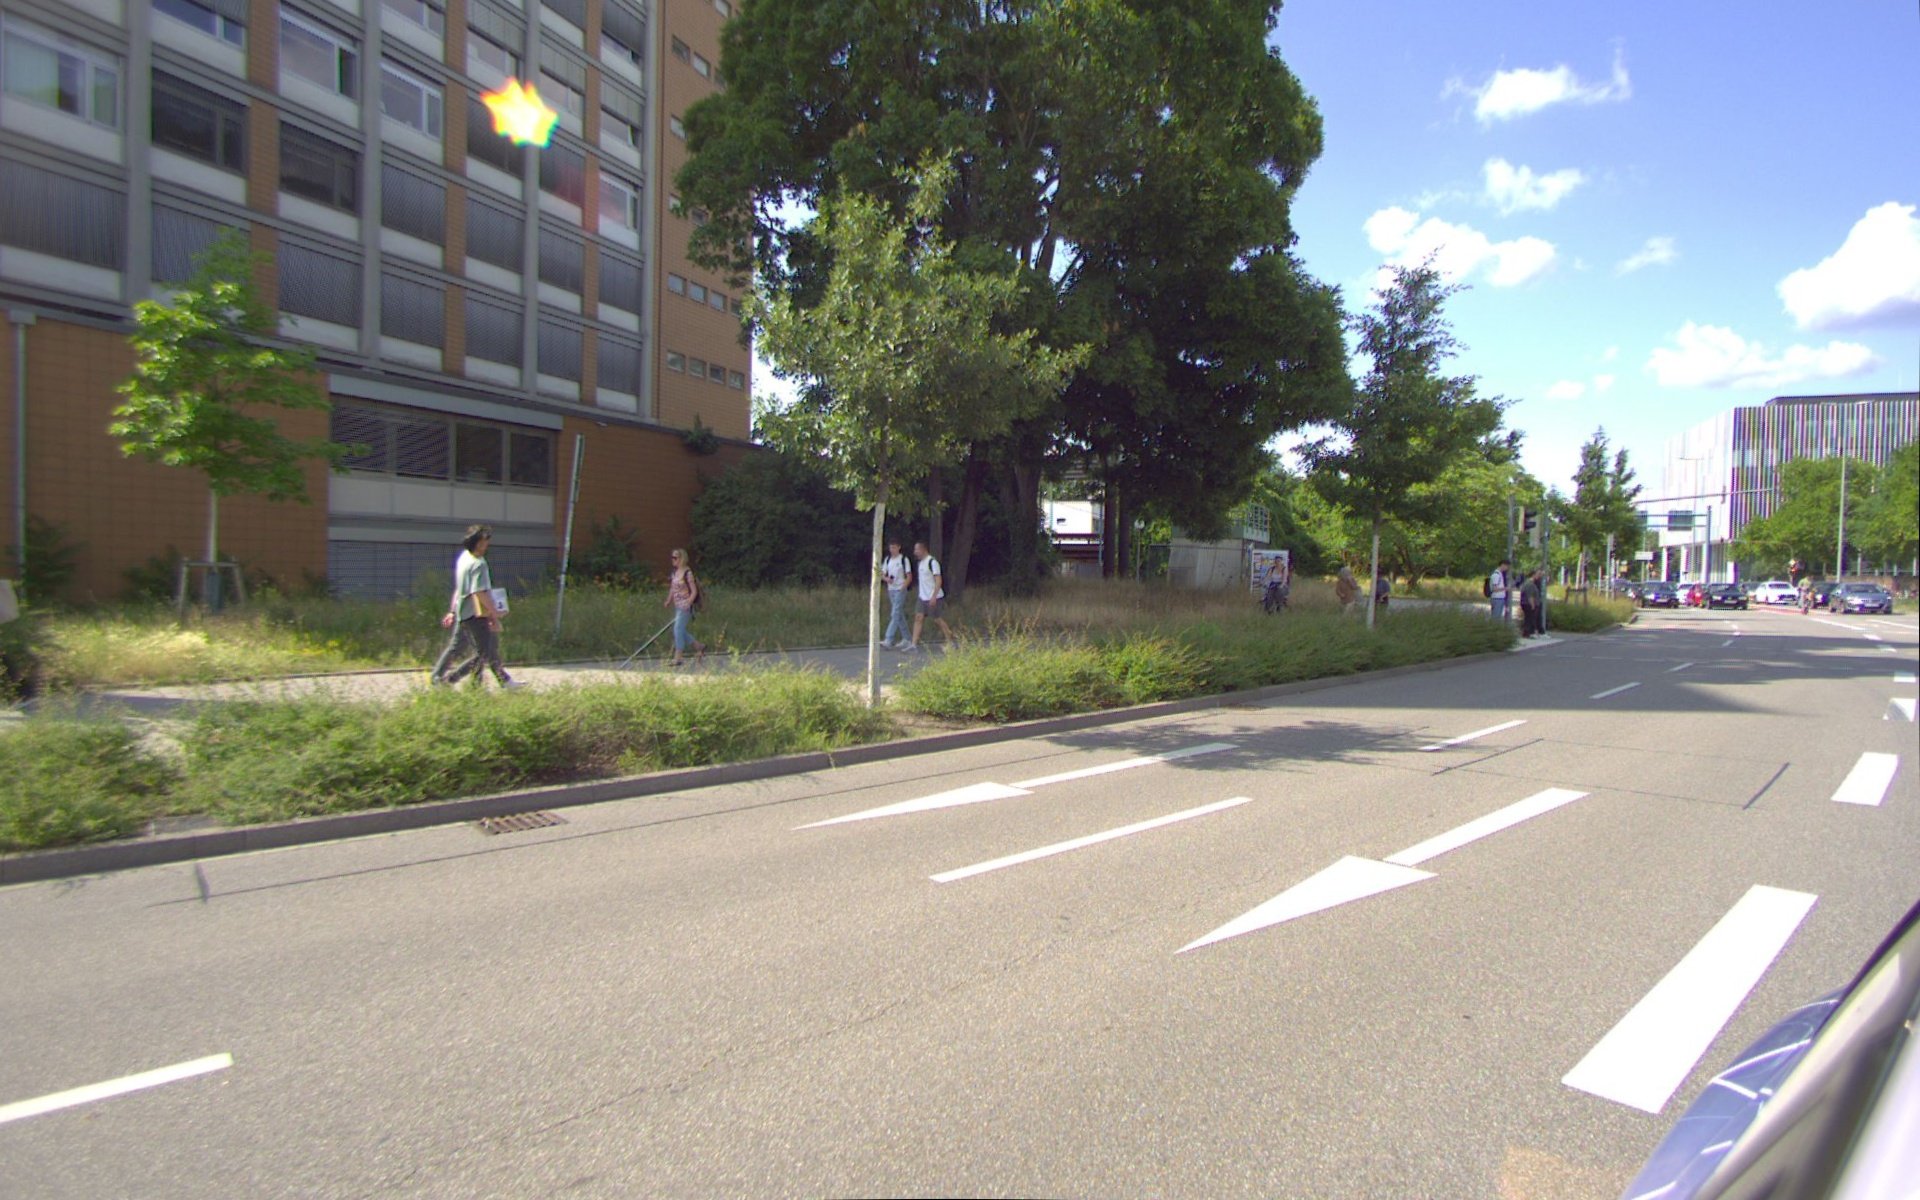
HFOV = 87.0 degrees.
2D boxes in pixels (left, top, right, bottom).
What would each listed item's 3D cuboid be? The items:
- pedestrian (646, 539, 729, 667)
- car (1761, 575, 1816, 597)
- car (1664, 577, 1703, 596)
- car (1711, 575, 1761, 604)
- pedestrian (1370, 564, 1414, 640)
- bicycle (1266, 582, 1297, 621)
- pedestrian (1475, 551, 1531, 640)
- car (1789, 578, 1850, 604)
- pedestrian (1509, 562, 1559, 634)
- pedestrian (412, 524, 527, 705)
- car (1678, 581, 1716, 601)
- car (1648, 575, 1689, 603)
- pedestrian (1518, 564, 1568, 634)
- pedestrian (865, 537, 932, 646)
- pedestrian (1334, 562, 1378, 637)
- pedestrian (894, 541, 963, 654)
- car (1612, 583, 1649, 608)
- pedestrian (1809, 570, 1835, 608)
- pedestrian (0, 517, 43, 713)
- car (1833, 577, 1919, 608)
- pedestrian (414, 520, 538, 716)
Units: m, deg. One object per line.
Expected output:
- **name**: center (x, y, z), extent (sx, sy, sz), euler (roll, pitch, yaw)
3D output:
- **pedestrian**: center (-3.675, 0.013, 13.646), extent (0.614, 1.641, 0.876), euler (5, 5, 43)
- **car**: center (52.605, -0.890, 64.328), extent (1.761, 1.371, 3.966), euler (0, 1, 25)
- **car**: center (47.471, -0.914, 66.457), extent (1.897, 1.148, 4.054), euler (2, 3, 34)
- **car**: center (41.671, -0.593, 54.389), extent (1.814, 1.481, 3.953), euler (1, 2, 33)
- **pedestrian**: center (10.099, 0.039, 23.675), extent (0.765, 1.756, 0.708), euler (0, 1, 41)
- **bicycle**: center (7.956, 0.013, 25.107), extent (0.639, 0.891, 1.814), euler (1, 2, 15)
- **pedestrian**: center (12.695, -0.114, 23.657), extent (0.755, 2.039, 0.963), euler (-1, 1, -43)
- **car**: center (46.978, -0.517, 55.385), extent (1.718, 1.351, 3.753), euler (0, 1, 28)
- **pedestrian**: center (14.461, -0.055, 25.497), extent (0.755, 1.756, 0.926), euler (-1, 1, -43)
- **pedestrian**: center (-5.098, 0.117, 10.511), extent (0.742, 1.767, 0.876), euler (5, 5, 44)
- **car**: center (43.848, -0.557, 60.240), extent (1.586, 1.148, 3.587), euler (1, 1, 32)
- **car**: center (39.182, -0.630, 56.040), extent (1.815, 1.481, 3.951), euler (1, 2, 34)
- **pedestrian**: center (14.998, -0.041, 26.042), extent (0.755, 1.756, 0.926), euler (-1, 1, -43)
- **pedestrian**: center (-1.007, -0.159, 16.666), extent (0.614, 1.720, 0.876), euler (5, 5, 43)
- **pedestrian**: center (9.445, -0.014, 24.124), extent (0.765, 1.756, 0.708), euler (0, 1, 41)
- **pedestrian**: center (-0.505, -0.057, 16.143), extent (0.614, 1.720, 0.876), euler (5, 5, 43)
- **car**: center (41.822, -0.298, 63.129), extent (1.815, 1.481, 3.950), euler (1, 2, 35)
- **pedestrian**: center (39.916, -0.497, 46.870), extent (0.731, 1.736, 0.868), euler (0, 1, 27)
- **pedestrian**: center (-8.456, 0.116, 8.619), extent (0.873, 1.641, 0.616), euler (-1, 4, -36)
- **car**: center (42.916, -0.391, 47.404), extent (1.979, 1.393, 4.234), euler (0, 1, 25)
- **pedestrian**: center (-4.703, 0.136, 9.831), extent (0.742, 1.775, 0.876), euler (5, 5, 42)
